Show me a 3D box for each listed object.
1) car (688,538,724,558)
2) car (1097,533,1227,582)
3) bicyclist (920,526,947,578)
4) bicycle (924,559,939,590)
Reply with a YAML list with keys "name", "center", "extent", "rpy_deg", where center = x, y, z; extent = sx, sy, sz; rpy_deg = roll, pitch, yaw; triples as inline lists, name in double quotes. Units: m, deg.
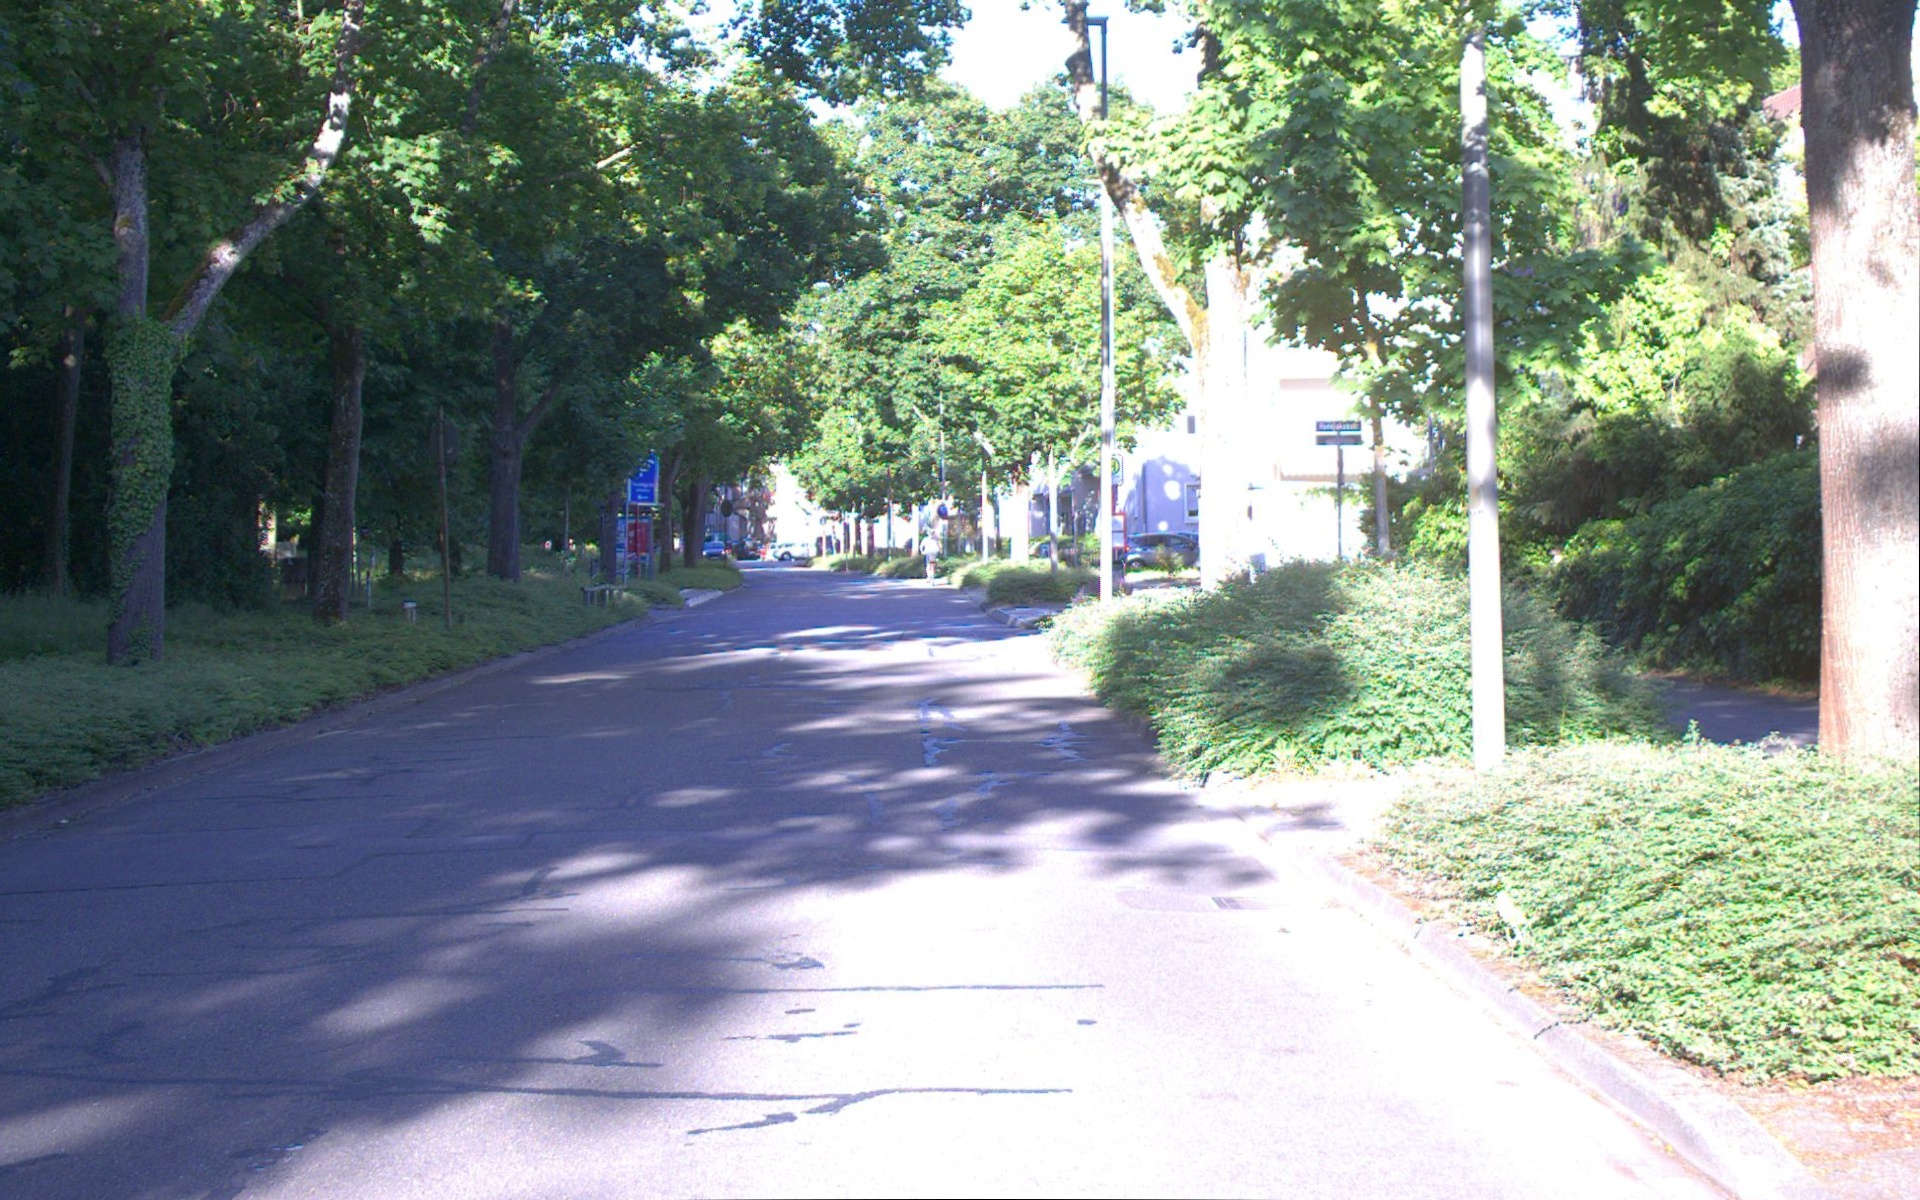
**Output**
- name: "car"
  center: [-17.355, -3.562, 234.780]
  extent: [1.993, 1.349, 3.542]
  rpy_deg: [1, 1, -11]
- name: "car"
  center: [7.009, -1.479, 119.140]
  extent: [4.351, 1.349, 2.143]
  rpy_deg: [3, 4, 5]
- name: "bicyclist"
  center: [-0.863, -1.569, 111.566]
  extent: [0.867, 1.635, 1.115]
  rpy_deg: [1, 2, -1]
- name: "bicycle"
  center: [-0.920, -0.834, 111.614]
  extent: [0.439, 0.975, 1.661]
  rpy_deg: [0, 2, -1]
